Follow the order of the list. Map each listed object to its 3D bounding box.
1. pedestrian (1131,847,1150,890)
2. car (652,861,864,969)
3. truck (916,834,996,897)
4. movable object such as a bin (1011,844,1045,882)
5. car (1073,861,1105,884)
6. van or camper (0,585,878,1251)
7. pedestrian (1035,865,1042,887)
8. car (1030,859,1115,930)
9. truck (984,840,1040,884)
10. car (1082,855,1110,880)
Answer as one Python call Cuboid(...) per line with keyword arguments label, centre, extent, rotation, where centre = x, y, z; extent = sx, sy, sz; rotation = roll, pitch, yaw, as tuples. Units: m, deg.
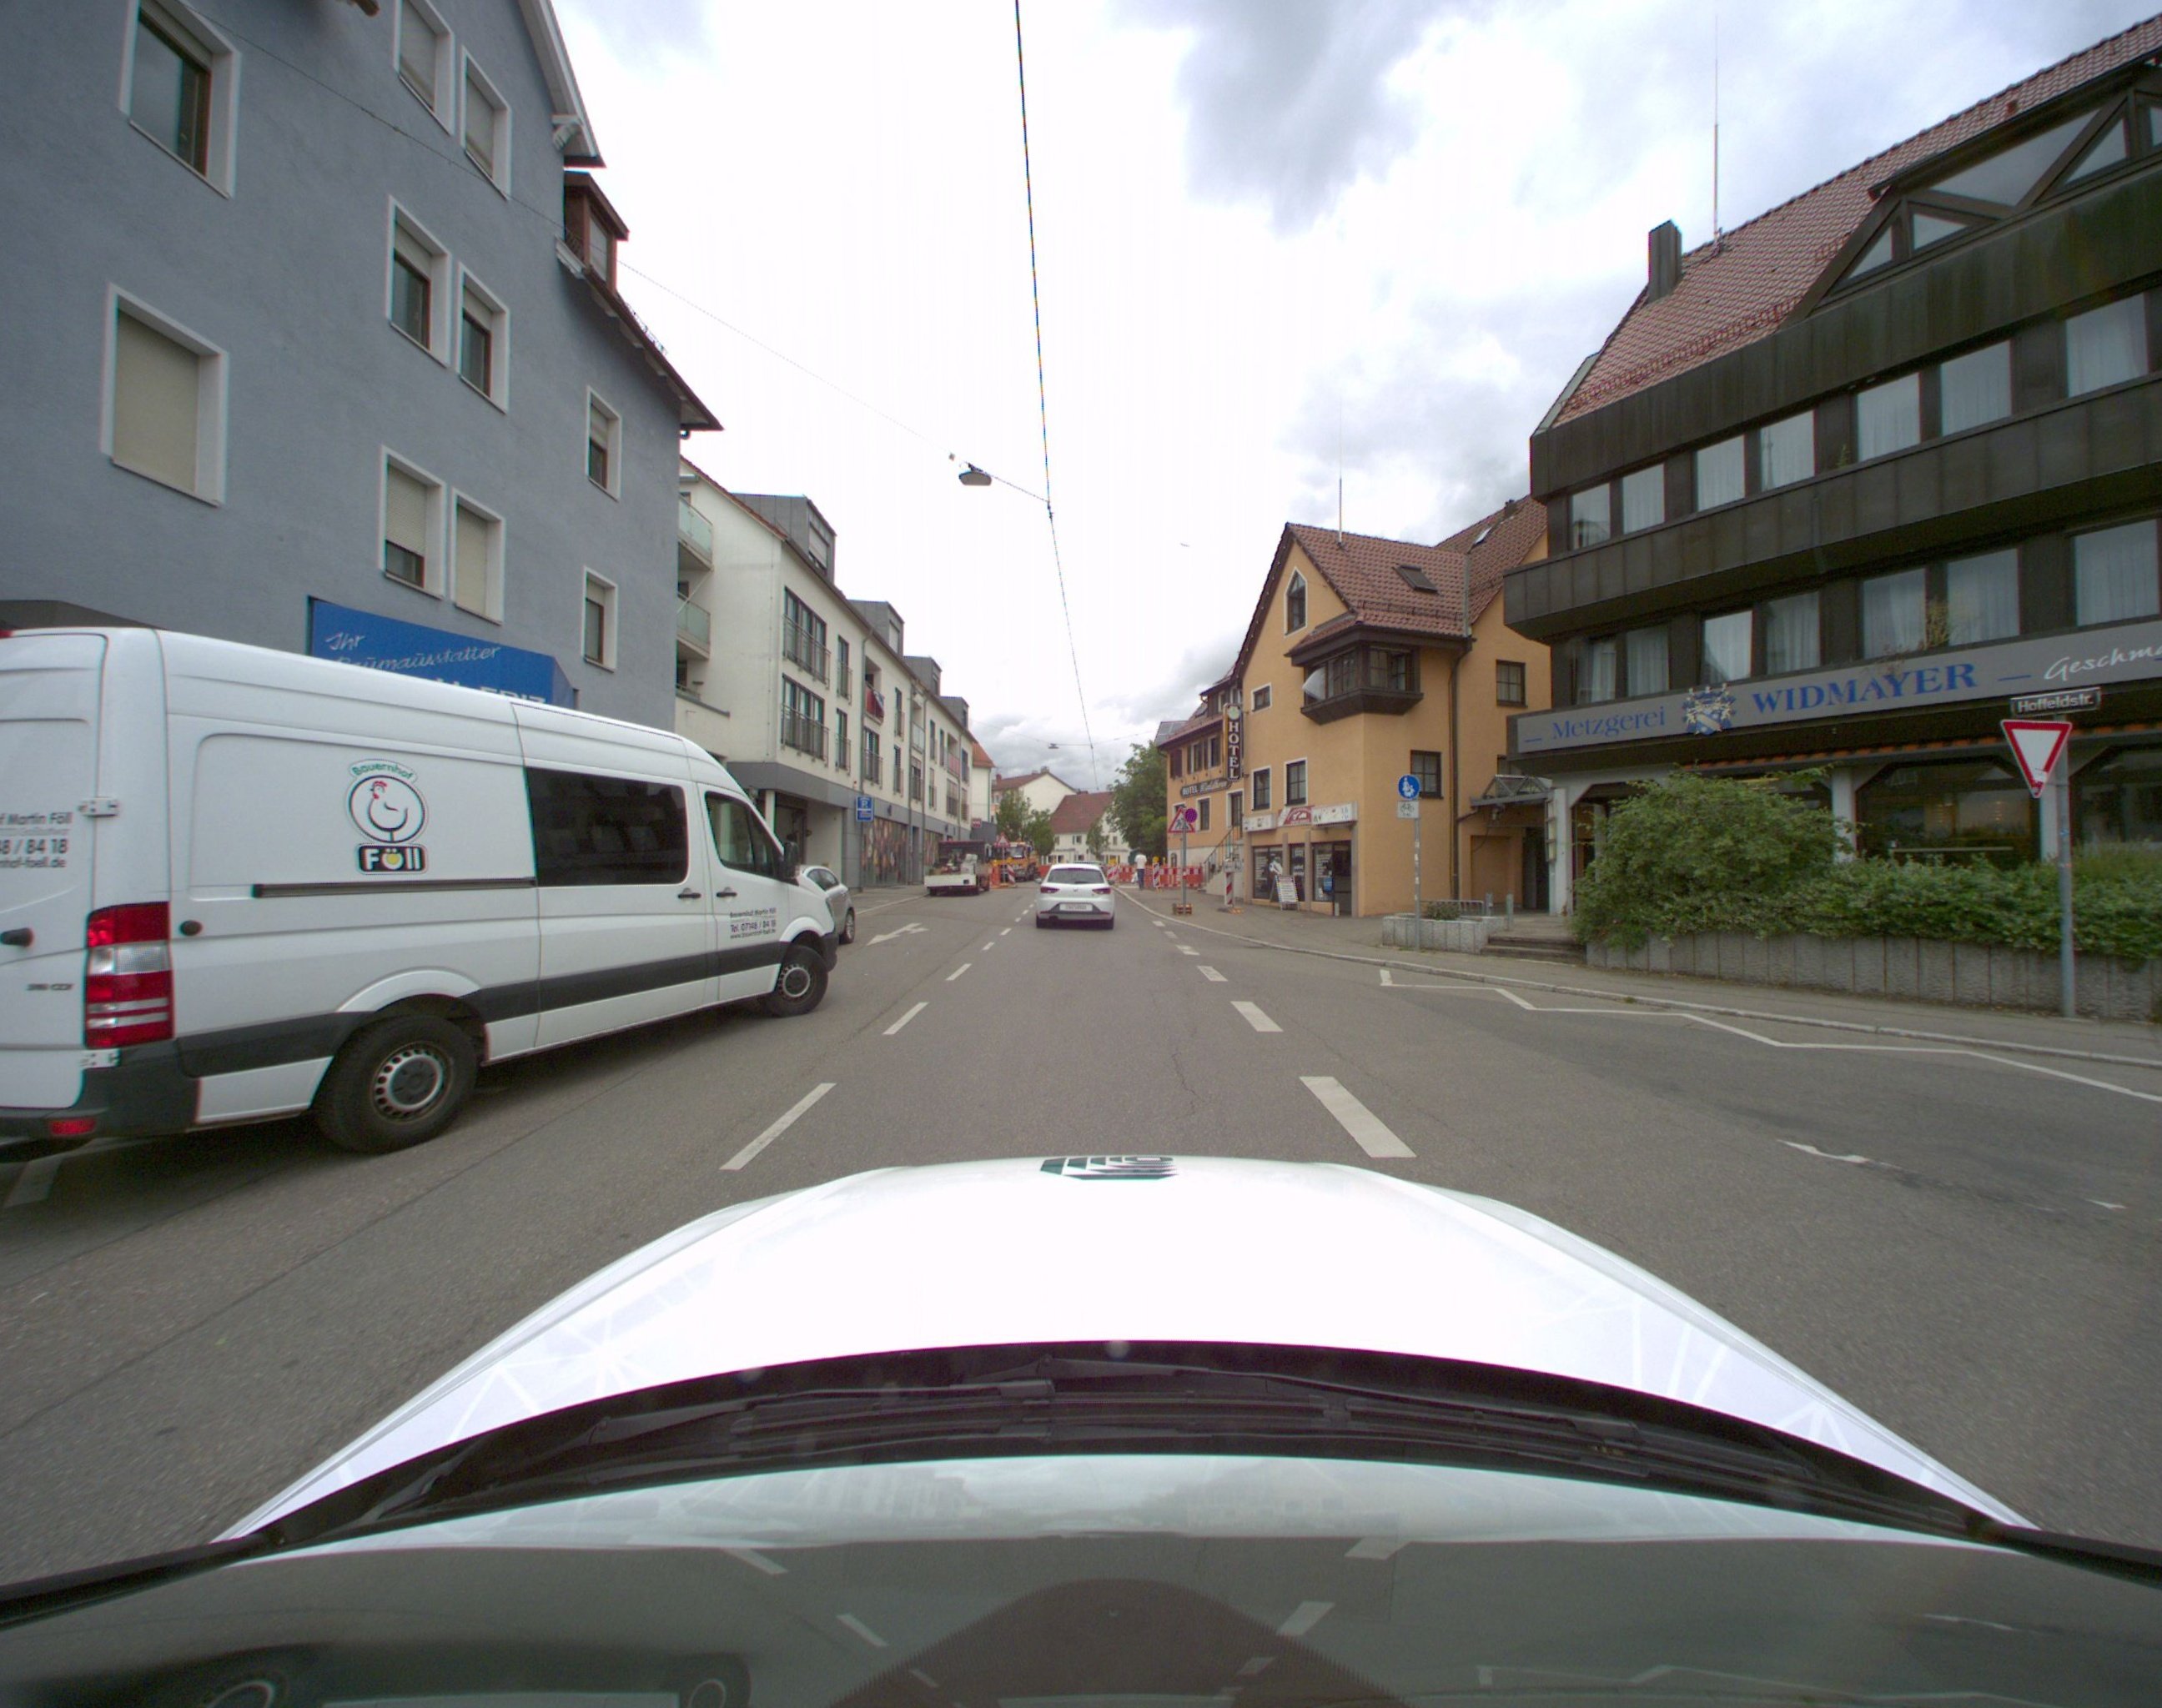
Cuboid(label="pedestrian", centre=(2.726, 0.649, 37.334), extent=(0.796, 1.950, 0.835), rotation=(-1, 0, -2))
Cuboid(label="car", centre=(-4.945, 0.853, 13.118), extent=(1.792, 1.411, 4.000), rotation=(-1, 0, 0))
Cuboid(label="truck", centre=(-5.256, 0.463, 35.203), extent=(2.405, 2.466, 6.307), rotation=(-1, 0, 0))
Cuboid(label="movable object such as a bin", centre=(-3.952, 0.709, 60.974), extent=(1.830, 2.764, 4.511), rotation=(0, -2, 5))
Cuboid(label="car", centre=(0.559, 1.250, 56.068), extent=(1.802, 1.481, 3.877), rotation=(-1, 0, 6))
Cuboid(label="van or camper", centre=(-4.225, 0.262, 6.483), extent=(2.302, 2.607, 6.232), rotation=(-1, 0, 15))
Cuboid(label="pedestrian", centre=(-3.373, 1.708, 64.545), extent=(0.534, 1.744, 0.444), rotation=(0, -1, 7))
Cuboid(label="car", centre=(-0.159, 0.874, 19.254), extent=(1.805, 1.481, 3.870), rotation=(0, 0, 0))
Cuboid(label="truck", centre=(-4.563, 0.527, 54.852), extent=(2.719, 2.725, 6.855), rotation=(0, 0, 4))
Cuboid(label="car", centre=(1.255, 1.129, 67.529), extent=(1.984, 2.014, 4.005), rotation=(0, -1, 5))
